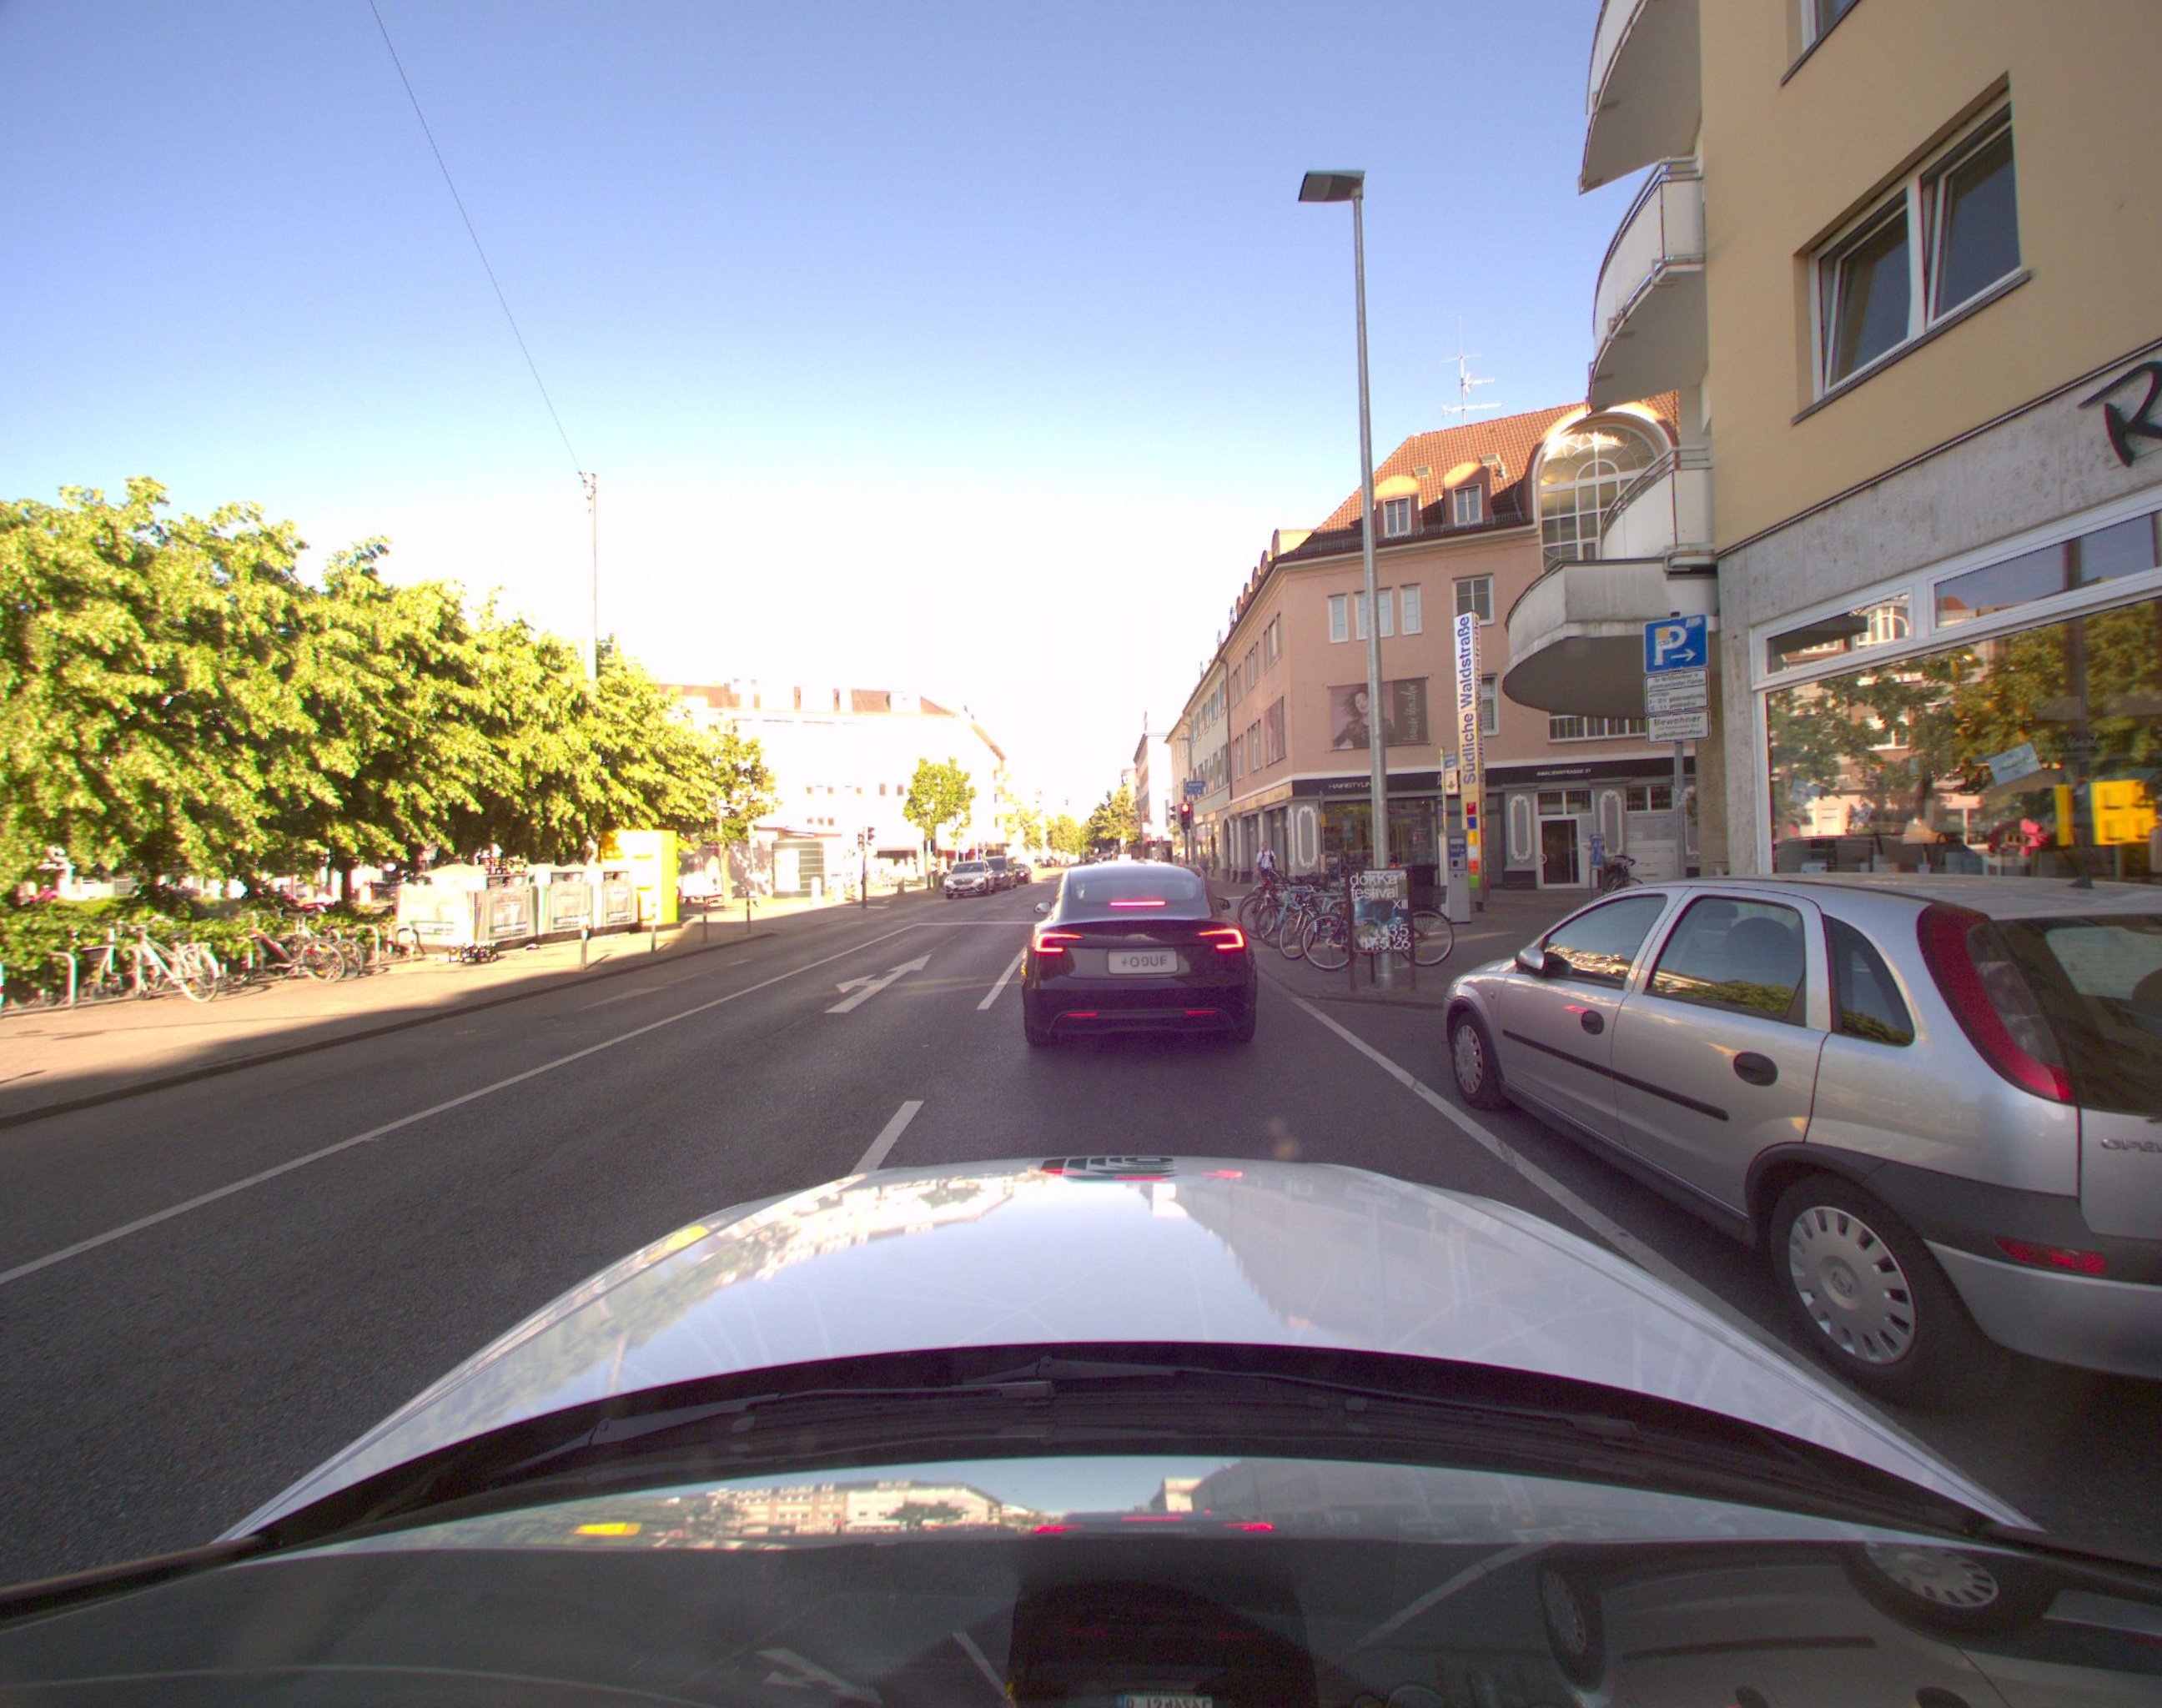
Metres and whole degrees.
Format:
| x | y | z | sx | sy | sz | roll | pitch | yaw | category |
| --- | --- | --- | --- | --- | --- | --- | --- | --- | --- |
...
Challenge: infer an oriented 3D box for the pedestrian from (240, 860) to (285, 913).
| x | y | z | sx | sy | sz | roll | pitch | yaw | category |
| --- | --- | --- | --- | --- | --- | --- | --- | --- | --- |
| -31.900 | 1.259 | 31.736 | 0.890 | 2.013 | 0.893 | -1 | 0 | 15 | pedestrian |

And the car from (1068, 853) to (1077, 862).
| x | y | z | sx | sy | sz | roll | pitch | yaw | category |
| --- | --- | --- | --- | --- | --- | --- | --- | --- | --- |
| -1.918 | 0.821 | 187.447 | 1.986 | 2.013 | 4.001 | -1 | 0 | 2 | car |

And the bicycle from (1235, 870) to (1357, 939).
| x | y | z | sx | sy | sz | roll | pitch | yaw | category |
| --- | --- | --- | --- | --- | --- | --- | --- | --- | --- |
| 3.581 | 0.837 | 13.667 | 1.863 | 1.038 | 0.548 | -3 | -1 | 7 | bicycle |

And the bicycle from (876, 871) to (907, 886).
| x | y | z | sx | sy | sz | roll | pitch | yaw | category |
| --- | --- | --- | --- | --- | --- | --- | --- | --- | --- |
| -12.267 | 1.563 | 52.692 | 1.857 | 0.934 | 0.606 | -1 | 0 | 0 | bicycle |

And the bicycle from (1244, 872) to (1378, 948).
| x | y | z | sx | sy | sz | roll | pitch | yaw | category |
| --- | --- | --- | --- | --- | --- | --- | --- | --- | --- |
| 3.492 | 0.848 | 12.494 | 1.864 | 1.038 | 0.534 | -3 | -1 | 5 | bicycle |

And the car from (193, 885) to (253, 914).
| x | y | z | sx | sy | sz | roll | pitch | yaw | category |
| --- | --- | --- | --- | --- | --- | --- | --- | --- | --- |
| -45.247 | 2.342 | 42.917 | 3.526 | 1.386 | 1.703 | -1 | 0 | 36 | car |

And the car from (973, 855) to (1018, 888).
| x | y | z | sx | sy | sz | roll | pitch | yaw | category |
| --- | --- | --- | --- | --- | --- | --- | --- | --- | --- |
| -4.436 | 0.911 | 43.017 | 1.780 | 1.646 | 4.404 | 0 | -1 | 2 | car |

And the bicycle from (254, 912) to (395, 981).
| x | y | z | sx | sy | sz | roll | pitch | yaw | category |
| --- | --- | --- | --- | --- | --- | --- | --- | --- | --- |
| -11.321 | 1.371 | 12.196 | 1.888 | 0.955 | 0.518 | -1 | -1 | 11 | bicycle |

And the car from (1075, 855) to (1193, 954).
| x | y | z | sx | sy | sz | roll | pitch | yaw | category |
| --- | --- | --- | --- | --- | --- | --- | --- | --- | --- |
| 0.795 | 0.746 | 13.906 | 1.712 | 1.425 | 3.757 | -1 | 0 | 0 | car |

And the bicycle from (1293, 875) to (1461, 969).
| x | y | z | sx | sy | sz | roll | pitch | yaw | category |
| --- | --- | --- | --- | --- | --- | --- | --- | --- | --- |
| 3.614 | 0.835 | 10.027 | 1.862 | 1.038 | 0.354 | -3 | -1 | 8 | bicycle |

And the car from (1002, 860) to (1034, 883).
| x | y | z | sx | sy | sz | roll | pitch | yaw | category |
| --- | --- | --- | --- | --- | --- | --- | --- | --- | --- |
| -4.164 | 1.141 | 54.309 | 1.709 | 1.446 | 3.846 | 0 | -1 | 2 | car |

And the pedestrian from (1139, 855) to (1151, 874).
| x | y | z | sx | sy | sz | roll | pitch | yaw | category |
| --- | --- | --- | --- | --- | --- | --- | --- | --- | --- |
| 5.432 | 0.885 | 69.204 | 0.756 | 1.631 | 0.951 | 0 | -1 | -16 | pedestrian |

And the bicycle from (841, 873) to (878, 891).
| x | y | z | sx | sy | sz | roll | pitch | yaw | category |
| --- | --- | --- | --- | --- | --- | --- | --- | --- | --- |
| -12.407 | 1.556 | 45.646 | 1.857 | 0.934 | 0.606 | -1 | -1 | 0 | bicycle |

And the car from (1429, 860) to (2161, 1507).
| x | y | z | sx | sy | sz | roll | pitch | yaw | category |
| --- | --- | --- | --- | --- | --- | --- | --- | --- | --- |
| 2.958 | 0.739 | 3.516 | 1.540 | 1.390 | 3.479 | -1 | -1 | 3 | car |

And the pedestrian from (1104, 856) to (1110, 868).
| x | y | z | sx | sy | sz | roll | pitch | yaw | category |
| --- | --- | --- | --- | --- | --- | --- | --- | --- | --- |
| 2.964 | 0.954 | 94.364 | 0.524 | 1.422 | 0.475 | 0 | -1 | -28 | pedestrian |

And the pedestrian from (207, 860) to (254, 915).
| x | y | z | sx | sy | sz | roll | pitch | yaw | category |
| --- | --- | --- | --- | --- | --- | --- | --- | --- | --- |
| -32.064 | 1.252 | 30.711 | 0.890 | 2.013 | 0.893 | -1 | 0 | 15 | pedestrian |

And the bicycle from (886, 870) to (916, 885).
| x | y | z | sx | sy | sz | roll | pitch | yaw | category |
| --- | --- | --- | --- | --- | --- | --- | --- | --- | --- |
| -12.187 | 1.582 | 55.140 | 1.857 | 0.934 | 0.606 | -1 | 0 | 0 | bicycle |

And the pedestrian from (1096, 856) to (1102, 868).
| x | y | z | sx | sy | sz | roll | pitch | yaw | category |
| --- | --- | --- | --- | --- | --- | --- | --- | --- | --- |
| 2.106 | 0.905 | 93.638 | 0.524 | 1.422 | 0.475 | 0 | -1 | -28 | pedestrian |

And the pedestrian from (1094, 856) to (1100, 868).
| x | y | z | sx | sy | sz | roll | pitch | yaw | category |
| --- | --- | --- | --- | --- | --- | --- | --- | --- | --- |
| 1.865 | 0.917 | 94.477 | 0.474 | 1.417 | 0.517 | 0 | -1 | -29 | pedestrian |

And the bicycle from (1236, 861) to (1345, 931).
| x | y | z | sx | sy | sz | roll | pitch | yaw | category |
| --- | --- | --- | --- | --- | --- | --- | --- | --- | --- |
| 3.777 | 0.757 | 14.784 | 1.818 | 1.169 | 0.507 | -3 | -1 | 7 | bicycle |

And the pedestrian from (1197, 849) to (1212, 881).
| x | y | z | sx | sy | sz | roll | pitch | yaw | category |
| --- | --- | --- | --- | --- | --- | --- | --- | --- | --- |
| 6.692 | 0.589 | 44.041 | 0.704 | 1.742 | 0.540 | -1 | 0 | 1 | pedestrian |

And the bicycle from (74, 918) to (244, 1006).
| x | y | z | sx | sy | sz | roll | pitch | yaw | category |
| --- | --- | --- | --- | --- | --- | --- | --- | --- | --- |
| -11.623 | 1.339 | 10.273 | 1.919 | 1.015 | 0.518 | -1 | -1 | 12 | bicycle |

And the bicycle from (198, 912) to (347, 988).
| x | y | z | sx | sy | sz | roll | pitch | yaw | category |
| --- | --- | --- | --- | --- | --- | --- | --- | --- | --- |
| -11.539 | 1.347 | 11.630 | 1.913 | 1.003 | 0.518 | -1 | -1 | 11 | bicycle |

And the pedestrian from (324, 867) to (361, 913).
| x | y | z | sx | sy | sz | roll | pitch | yaw | category |
| --- | --- | --- | --- | --- | --- | --- | --- | --- | --- |
| -28.116 | 1.360 | 31.023 | 0.754 | 1.698 | 0.793 | -1 | 0 | 25 | pedestrian |

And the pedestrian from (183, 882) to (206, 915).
| x | y | z | sx | sy | sz | roll | pitch | yaw | category |
| --- | --- | --- | --- | --- | --- | --- | --- | --- | --- |
| -48.845 | 2.442 | 44.874 | 0.842 | 1.717 | 0.761 | -2 | -1 | 35 | pedestrian |

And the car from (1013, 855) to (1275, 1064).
| x | y | z | sx | sy | sz | roll | pitch | yaw | category |
| --- | --- | --- | --- | --- | --- | --- | --- | --- | --- |
| 0.507 | 0.759 | 7.737 | 1.816 | 1.442 | 4.001 | -1 | -1 | 2 | car |

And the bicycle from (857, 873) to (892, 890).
| x | y | z | sx | sy | sz | roll | pitch | yaw | category |
| --- | --- | --- | --- | --- | --- | --- | --- | --- | --- |
| -12.119 | 1.614 | 47.815 | 1.857 | 0.934 | 0.606 | 0 | -1 | 0 | bicycle |

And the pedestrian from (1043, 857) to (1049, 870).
| x | y | z | sx | sy | sz | roll | pitch | yaw | category |
| --- | --- | --- | --- | --- | --- | --- | --- | --- | --- |
| -4.850 | 1.310 | 113.638 | 0.845 | 1.695 | 0.718 | -1 | 0 | -1 | pedestrian |

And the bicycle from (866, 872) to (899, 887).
| x | y | z | sx | sy | sz | roll | pitch | yaw | category |
| --- | --- | --- | --- | --- | --- | --- | --- | --- | --- |
| -12.244 | 1.576 | 50.294 | 1.857 | 0.934 | 0.606 | 0 | -1 | 0 | bicycle |

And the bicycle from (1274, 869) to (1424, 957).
| x | y | z | sx | sy | sz | roll | pitch | yaw | category |
| --- | --- | --- | --- | --- | --- | --- | --- | --- | --- |
| 3.651 | 0.803 | 11.190 | 1.864 | 1.087 | 0.415 | -3 | -1 | 5 | bicycle |

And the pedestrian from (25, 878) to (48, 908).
| x | y | z | sx | sy | sz | roll | pitch | yaw | category |
| --- | --- | --- | --- | --- | --- | --- | --- | --- | --- |
| -77.753 | 2.889 | 60.627 | 0.891 | 2.171 | 0.882 | -1 | -1 | 26 | pedestrian |

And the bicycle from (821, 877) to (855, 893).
| x | y | z | sx | sy | sz | roll | pitch | yaw | category |
| --- | --- | --- | --- | --- | --- | --- | --- | --- | --- |
| -12.840 | 1.632 | 43.075 | 1.640 | 0.792 | 0.606 | 0 | -1 | -3 | bicycle |

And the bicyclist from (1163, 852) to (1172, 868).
| x | y | z | sx | sy | sz | roll | pitch | yaw | category |
| --- | --- | --- | --- | --- | --- | --- | --- | --- | --- |
| 7.576 | 0.521 | 71.128 | 0.670 | 1.395 | 0.460 | 0 | -1 | -14 | bicyclist |

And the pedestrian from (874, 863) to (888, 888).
| x | y | z | sx | sy | sz | roll | pitch | yaw | category |
| --- | --- | --- | --- | --- | --- | --- | --- | --- | --- |
| -16.786 | 1.777 | 68.226 | 1.060 | 2.014 | 1.049 | 0 | -1 | -18 | pedestrian |

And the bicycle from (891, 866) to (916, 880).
| x | y | z | sx | sy | sz | roll | pitch | yaw | category |
| --- | --- | --- | --- | --- | --- | --- | --- | --- | --- |
| -17.093 | 1.817 | 78.479 | 2.373 | 1.296 | 0.509 | 0 | -1 | -25 | bicycle |

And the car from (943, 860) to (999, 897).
| x | y | z | sx | sy | sz | roll | pitch | yaw | category |
| --- | --- | --- | --- | --- | --- | --- | --- | --- | --- |
| -4.842 | 1.043 | 36.446 | 1.782 | 1.460 | 3.759 | -4 | -1 | 2 | car |

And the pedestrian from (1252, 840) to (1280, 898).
| x | y | z | sx | sy | sz | roll | pitch | yaw | category |
| --- | --- | --- | --- | --- | --- | --- | --- | --- | --- |
| 5.707 | 0.457 | 25.155 | 0.747 | 1.765 | 0.838 | 0 | -1 | 6 | pedestrian |

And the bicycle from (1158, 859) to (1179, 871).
| x | y | z | sx | sy | sz | roll | pitch | yaw | category |
| --- | --- | --- | --- | --- | --- | --- | --- | --- | --- |
| 7.617 | 0.944 | 71.137 | 1.787 | 1.007 | 0.469 | 0 | -1 | -15 | bicycle |
